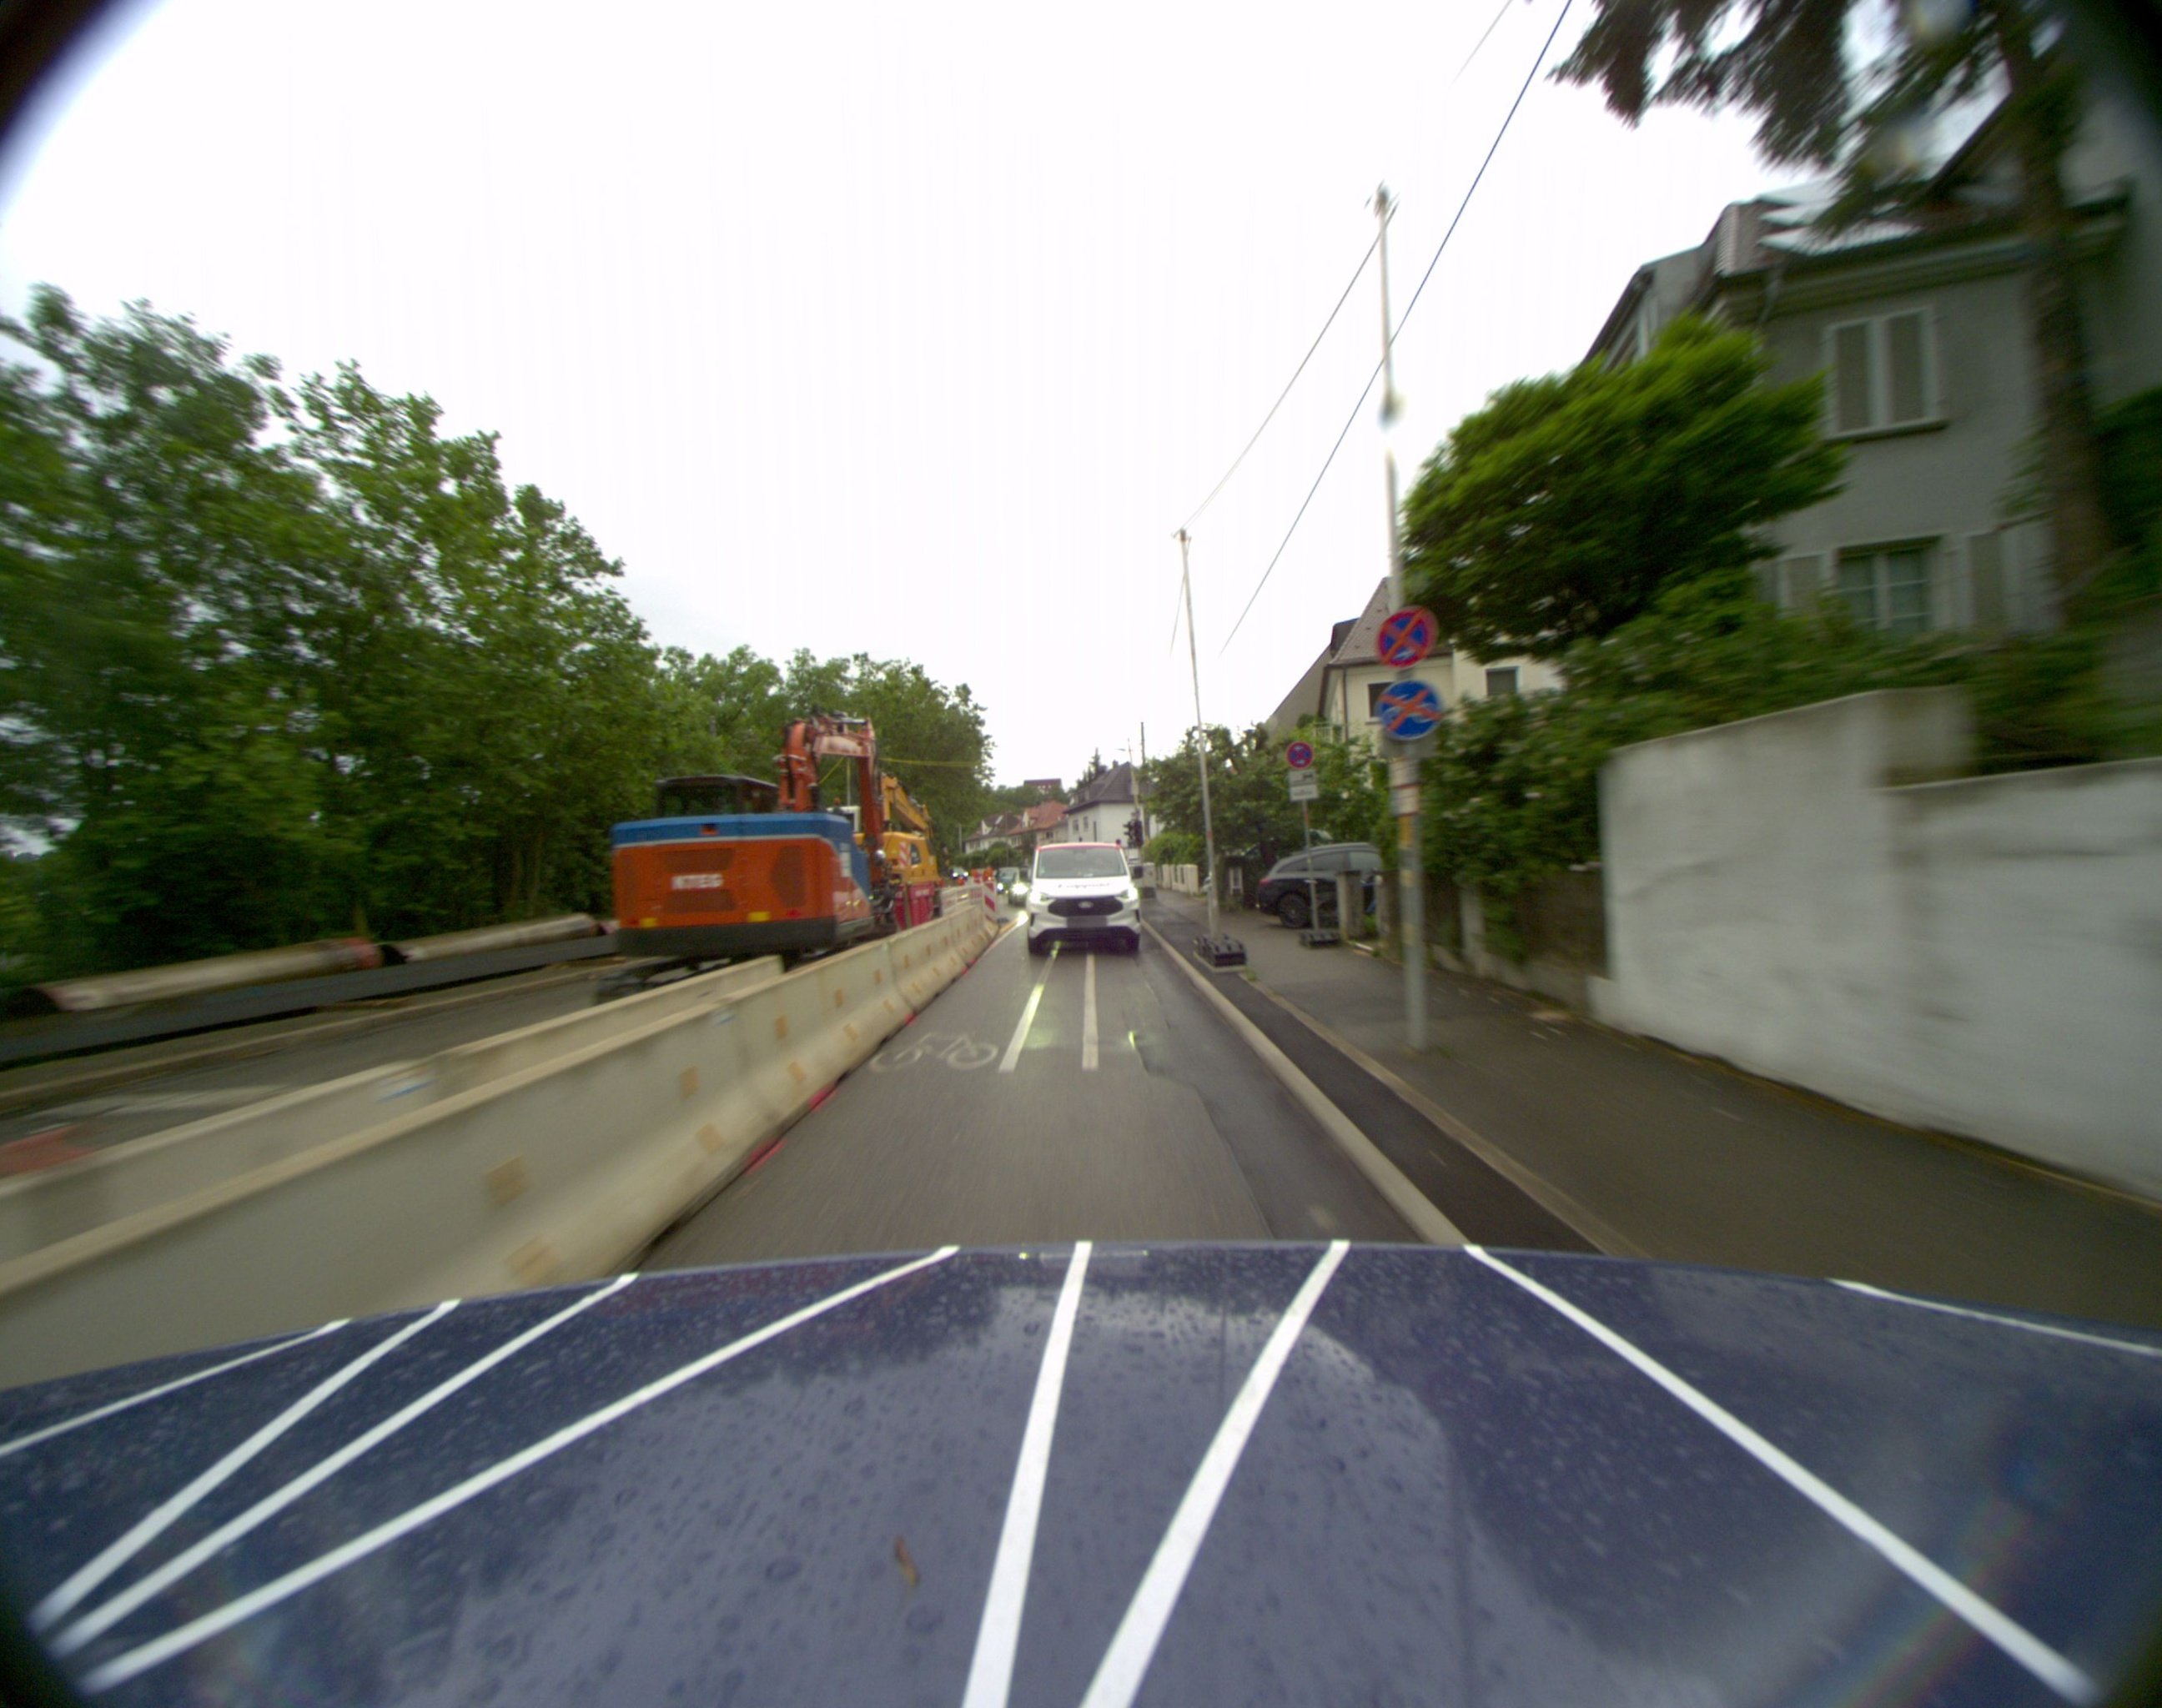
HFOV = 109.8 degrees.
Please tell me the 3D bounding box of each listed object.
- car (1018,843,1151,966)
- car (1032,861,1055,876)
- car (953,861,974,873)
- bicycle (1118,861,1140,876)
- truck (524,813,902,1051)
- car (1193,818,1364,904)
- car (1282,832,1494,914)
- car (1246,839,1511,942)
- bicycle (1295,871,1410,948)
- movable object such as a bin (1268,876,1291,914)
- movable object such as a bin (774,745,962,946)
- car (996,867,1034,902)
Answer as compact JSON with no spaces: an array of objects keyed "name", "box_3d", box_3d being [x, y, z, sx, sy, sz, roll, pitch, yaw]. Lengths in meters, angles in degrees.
[{"name":"car","box_3d":[-0.151,0.824,15.021,2.046,1.882,5.206,-4,0,-5]},{"name":"car","box_3d":[-4.170,1.649,83.490,1.899,1.484,3.795,-2,-2,-12]},{"name":"car","box_3d":[-14.120,1.531,91.182,1.825,1.328,3.625,-4,0,0]},{"name":"bicycle","box_3d":[4.301,1.300,68.111,1.733,1.304,0.706,-4,1,-11]},{"name":"truck","box_3d":[-3.716,0.699,8.533,2.557,2.096,3.304,-2,0,0]},{"name":"car","box_3d":[6.322,0.254,24.740,4.972,1.607,1.866,-13,-3,11]},{"name":"car","box_3d":[6.682,0.402,16.977,3.994,1.517,1.942,-3,1,10]},{"name":"car","box_3d":[5.211,0.631,13.697,1.790,1.516,3.990,-4,0,-42]},{"name":"bicycle","box_3d":[4.294,0.885,12.101,1.621,1.124,0.443,-3,1,14]},{"name":"movable object such as a bin","box_3d":[5.067,1.047,19.409,0.505,0.925,0.505,-2,1,13]},{"name":"movable object such as a bin","box_3d":[-4.843,-0.123,18.202,2.885,4.145,4.489,-2,-1,4]},{"name":"car","box_3d":[-3.368,1.522,39.408,1.540,1.565,3.649,-4,0,0]}]
